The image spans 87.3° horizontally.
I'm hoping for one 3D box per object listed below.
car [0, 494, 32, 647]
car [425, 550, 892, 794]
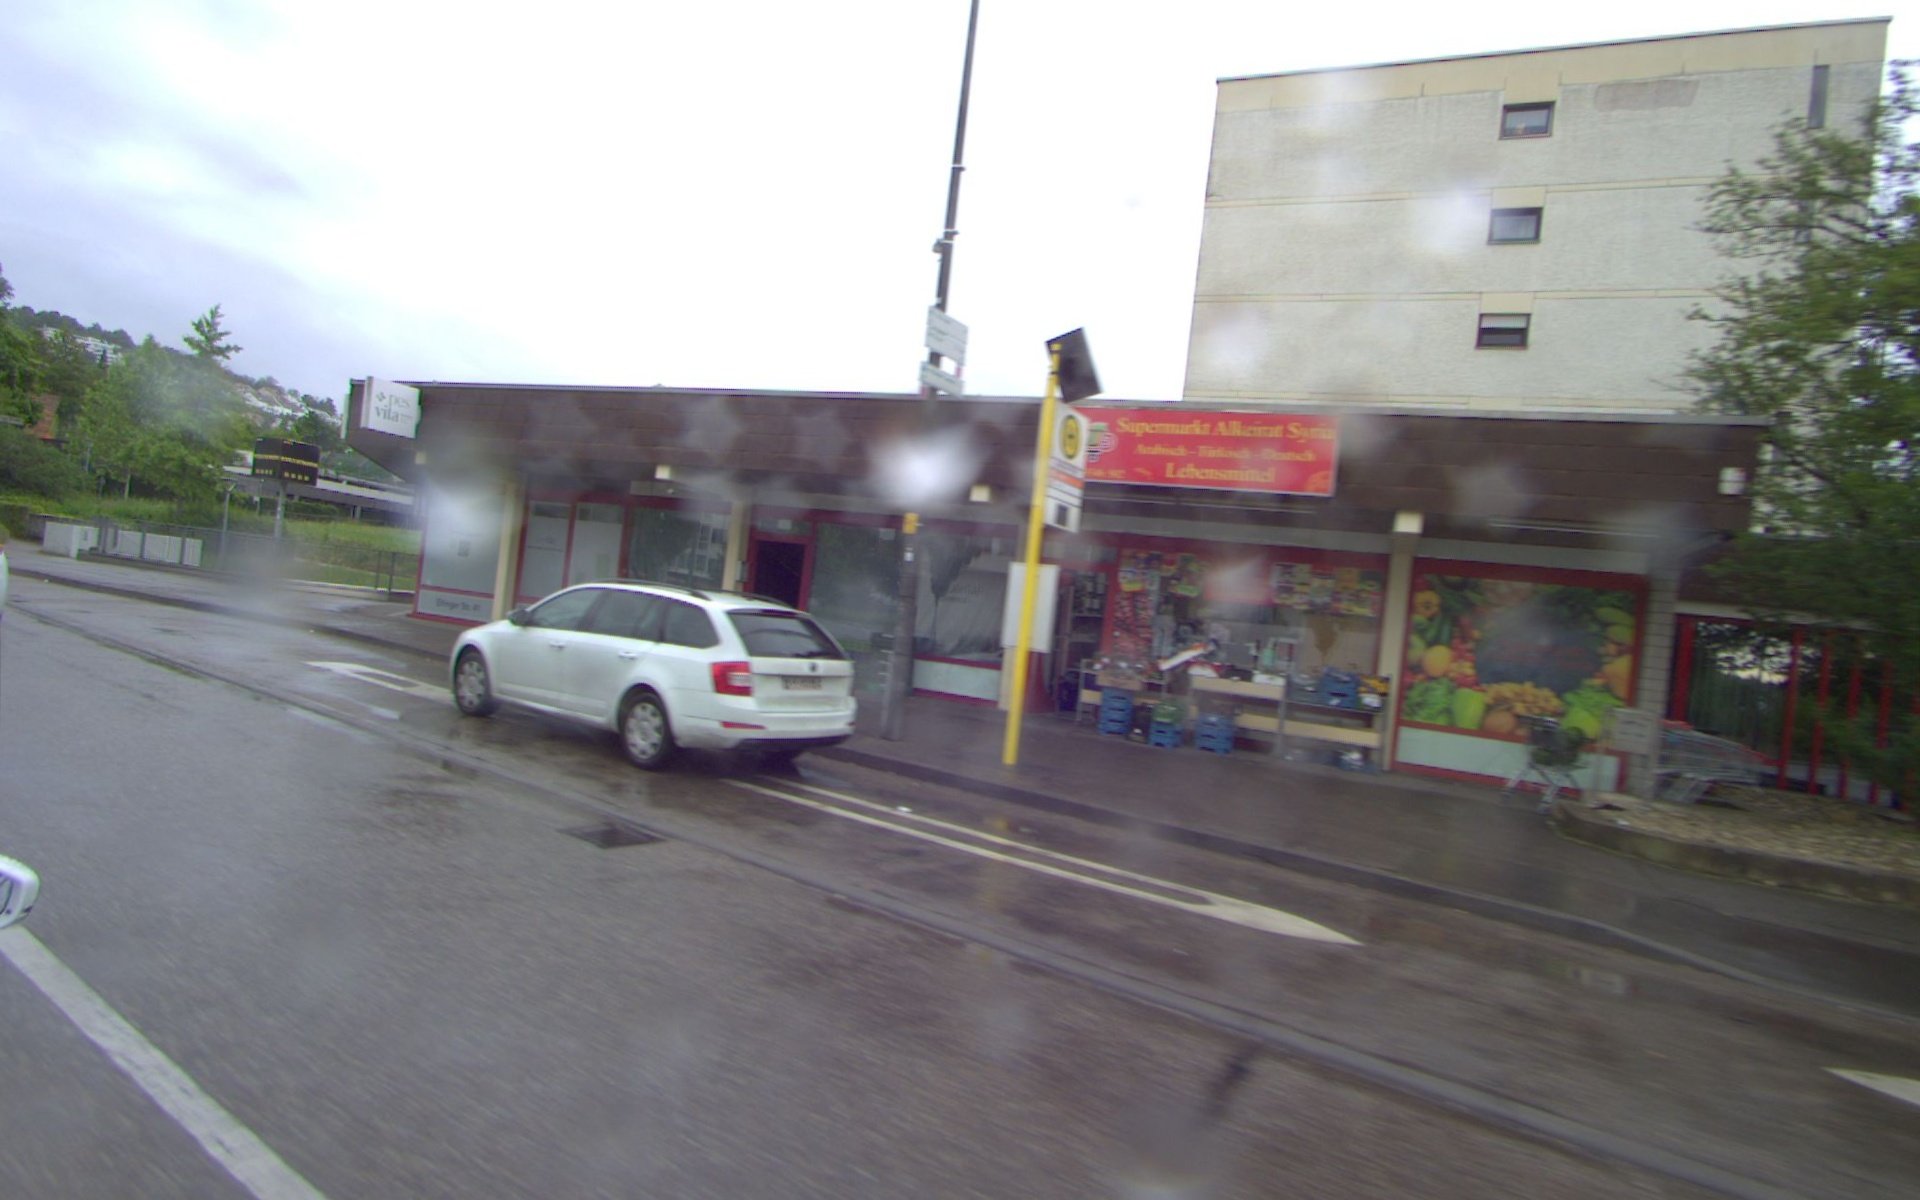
[{"bbox_3d":[-11.846,-0.596,10.869,3.869,1.537,1.693,8,-1,34],"label":"car"},{"bbox_3d":[-2.952,0.529,9.383,4.410,1.516,1.731,7,1,35],"label":"car"}]
